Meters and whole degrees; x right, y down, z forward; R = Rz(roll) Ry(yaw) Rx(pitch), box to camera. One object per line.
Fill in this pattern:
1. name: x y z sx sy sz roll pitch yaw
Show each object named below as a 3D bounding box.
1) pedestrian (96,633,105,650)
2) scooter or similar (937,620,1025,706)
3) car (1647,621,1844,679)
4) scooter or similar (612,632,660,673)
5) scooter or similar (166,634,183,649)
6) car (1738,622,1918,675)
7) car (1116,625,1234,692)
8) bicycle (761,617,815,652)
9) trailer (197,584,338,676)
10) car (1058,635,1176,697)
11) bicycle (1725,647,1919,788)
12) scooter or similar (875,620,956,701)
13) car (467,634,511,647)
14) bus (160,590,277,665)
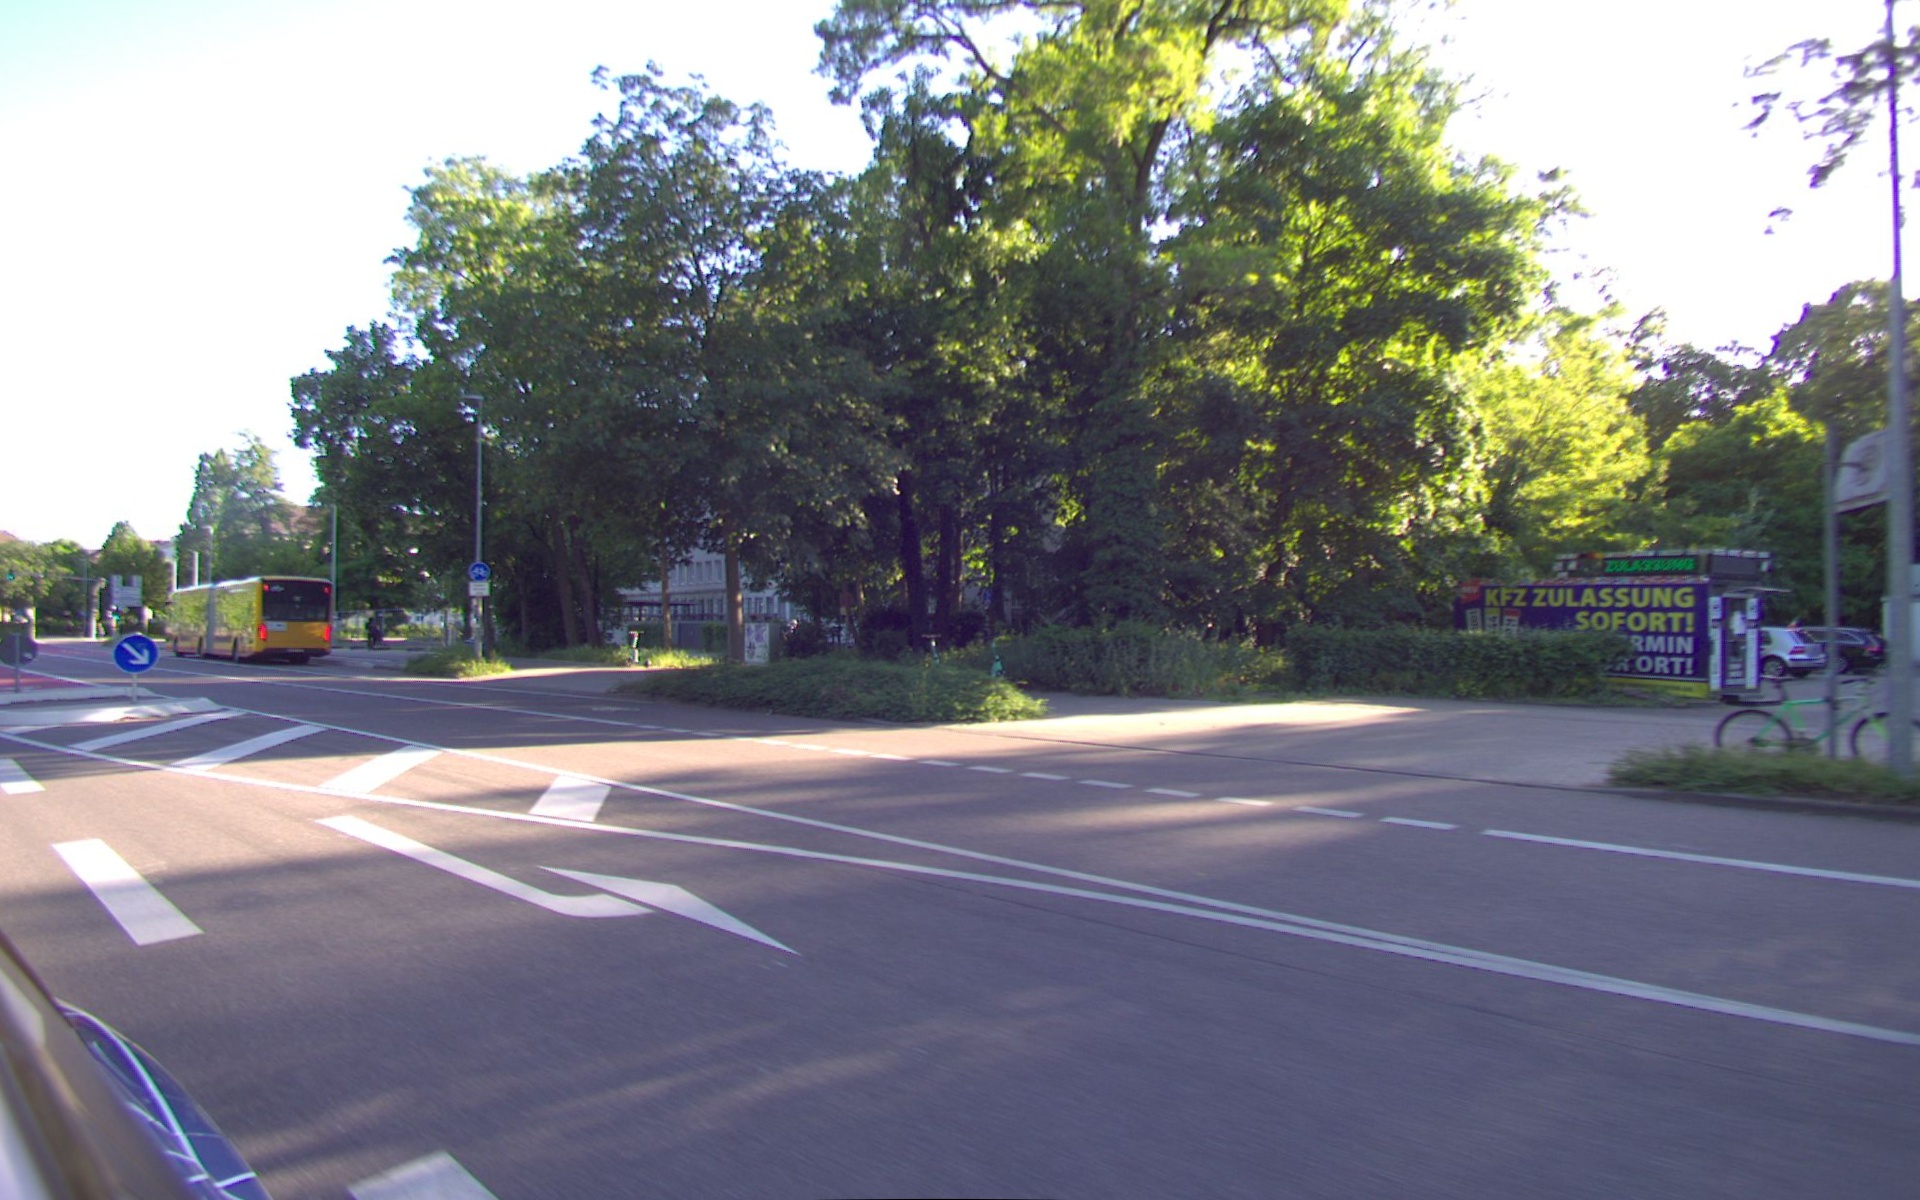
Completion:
1. pedestrian: -87.635 4.257 103.169 0.681 1.694 0.681 2 -3 -40
2. scooter or similar: 0.419 1.296 21.217 1.740 1.730 0.819 -2 -3 42
3. car: 22.545 1.400 29.198 1.966 1.548 4.033 1 -2 -31
4. scooter or similar: -10.613 1.699 33.162 1.570 1.320 0.819 -2 -3 42
5. scooter or similar: -68.087 3.617 87.776 0.683 1.304 1.501 1 -2 -19
6. car: 27.191 1.488 31.814 1.967 1.548 3.922 1 -2 -36
7. car: 5.651 1.514 27.031 1.536 1.663 3.501 1 -2 -18
8. bicycle: -5.711 1.148 33.754 0.886 1.104 2.124 -1 -1 17
9. trailer: -28.416 1.146 41.317 9.363 3.381 2.823 -1 0 43
10. car: 3.897 1.625 25.691 1.536 1.411 3.501 3 -3 -17
11. bicycle: 8.710 1.098 9.693 2.155 1.259 0.648 -1 -2 36
12. scooter or similar: -0.999 1.325 22.545 1.740 1.730 0.819 -2 -3 42
13. car: -54.419 4.666 116.886 4.192 1.551 2.072 2 -3 -41
14. bus: -34.945 1.317 47.539 8.599 3.221 2.809 -2 -3 43
